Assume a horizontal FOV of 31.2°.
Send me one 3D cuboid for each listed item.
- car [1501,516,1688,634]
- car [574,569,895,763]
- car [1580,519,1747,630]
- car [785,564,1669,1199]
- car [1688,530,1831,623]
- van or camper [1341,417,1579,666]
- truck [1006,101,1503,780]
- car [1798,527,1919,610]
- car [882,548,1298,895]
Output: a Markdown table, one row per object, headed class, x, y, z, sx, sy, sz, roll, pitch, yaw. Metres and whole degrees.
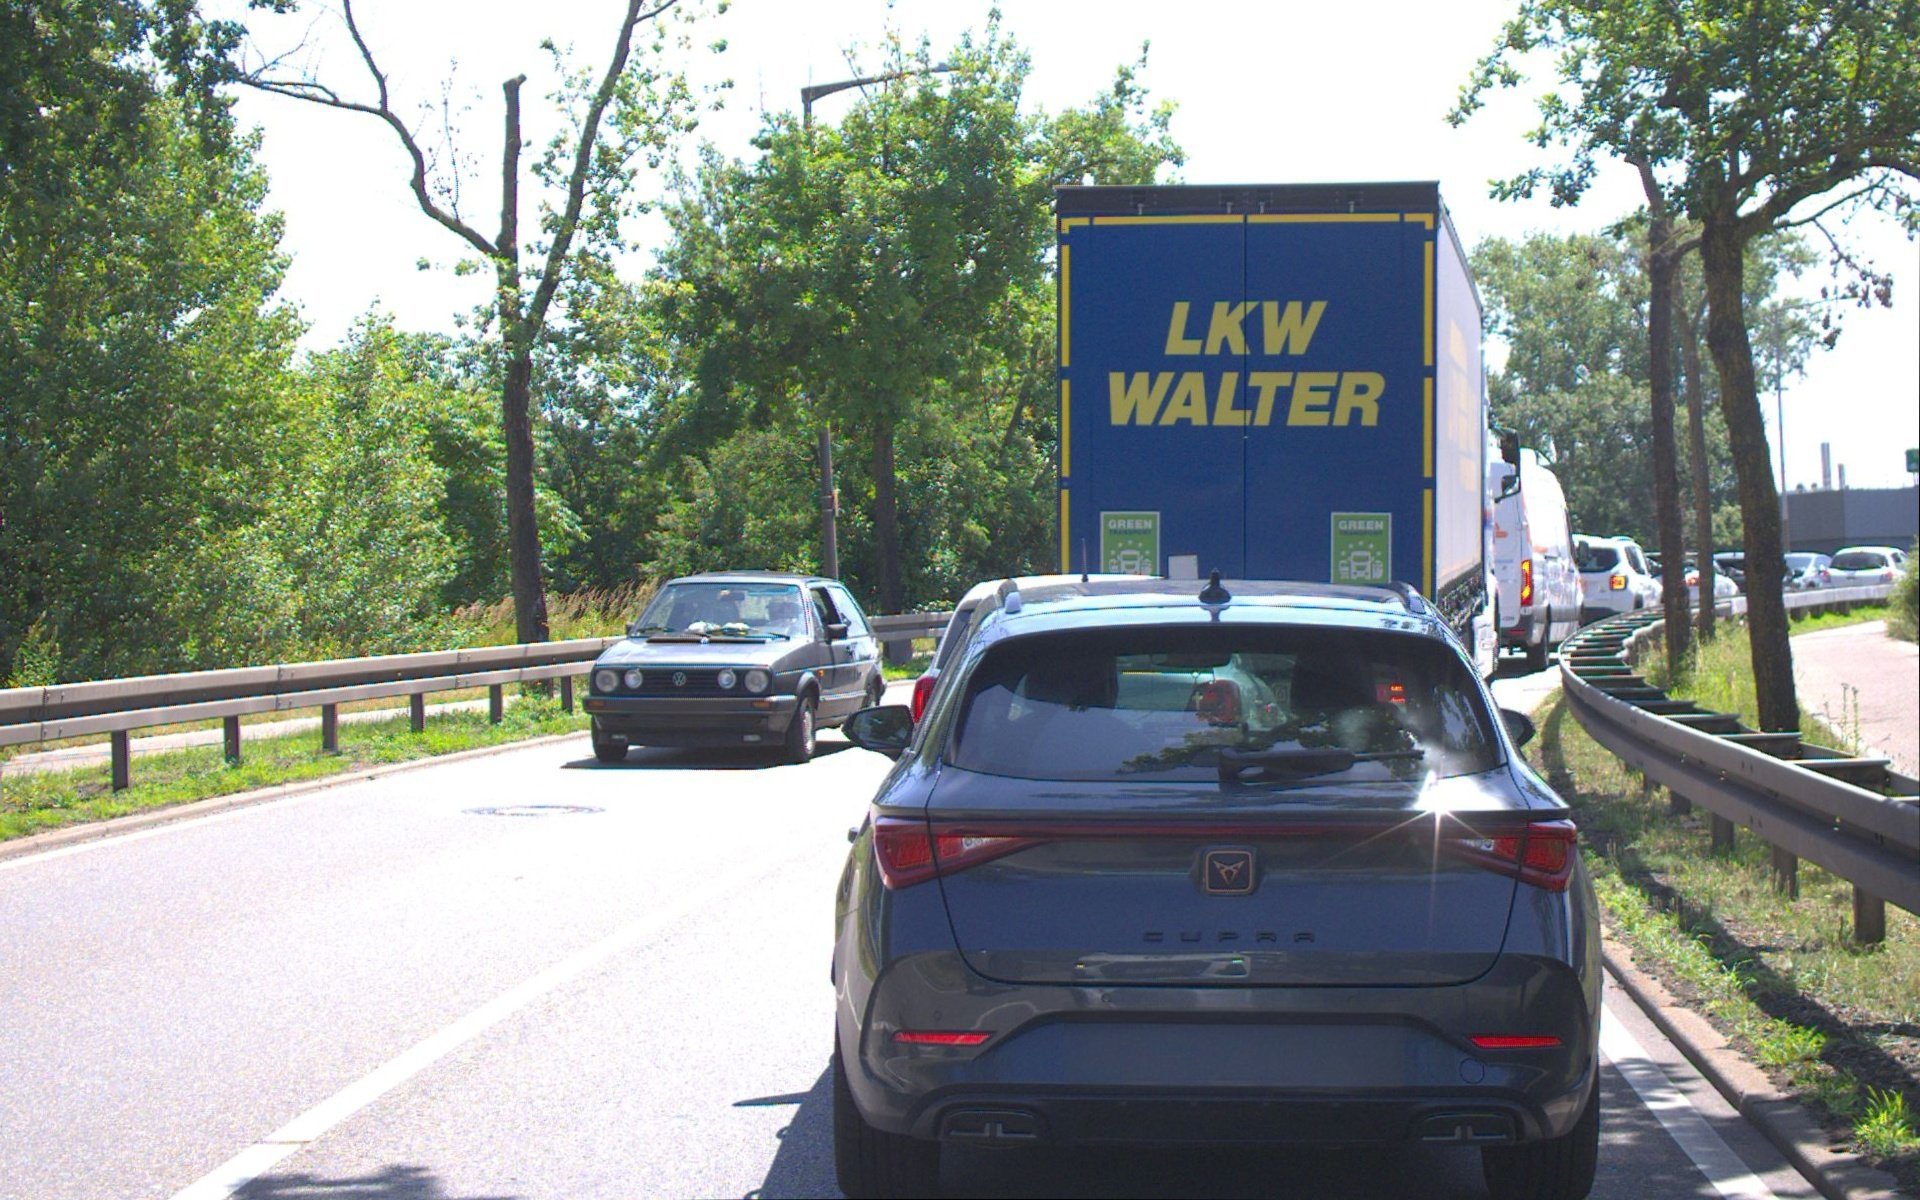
| class | x | y | z | sx | sy | sz | roll | pitch | yaw |
| --- | --- | --- | --- | --- | --- | --- | --- | --- | --- |
| car | 9.735 | -0.388 | 52.470 | 1.996 | 1.706 | 4.615 | 1 | 1 | 21 |
| car | -1.661 | 0.449 | 26.563 | 1.557 | 1.367 | 3.887 | 0 | 1 | 10 |
| car | 12.061 | -0.447 | 58.706 | 1.996 | 1.802 | 4.840 | 1 | 1 | 21 |
| car | 0.509 | 0.632 | 8.756 | 1.744 | 1.427 | 3.880 | 0 | 1 | -1 |
| car | 15.369 | -0.462 | 65.923 | 1.996 | 1.711 | 4.863 | 1 | 1 | 21 |
| van or camper | 6.558 | -0.742 | 44.498 | 2.468 | 2.988 | 6.082 | 1 | 1 | 14 |
| truck | 3.234 | -1.142 | 30.981 | 2.951 | 4.433 | 16.791 | 0 | 1 | 10 |
| car | 19.868 | -0.694 | 75.728 | 1.996 | 1.762 | 4.749 | 1 | 1 | 23 |
| car | 0.611 | 0.508 | 17.039 | 1.809 | 1.503 | 4.000 | 0 | 1 | 1 |
